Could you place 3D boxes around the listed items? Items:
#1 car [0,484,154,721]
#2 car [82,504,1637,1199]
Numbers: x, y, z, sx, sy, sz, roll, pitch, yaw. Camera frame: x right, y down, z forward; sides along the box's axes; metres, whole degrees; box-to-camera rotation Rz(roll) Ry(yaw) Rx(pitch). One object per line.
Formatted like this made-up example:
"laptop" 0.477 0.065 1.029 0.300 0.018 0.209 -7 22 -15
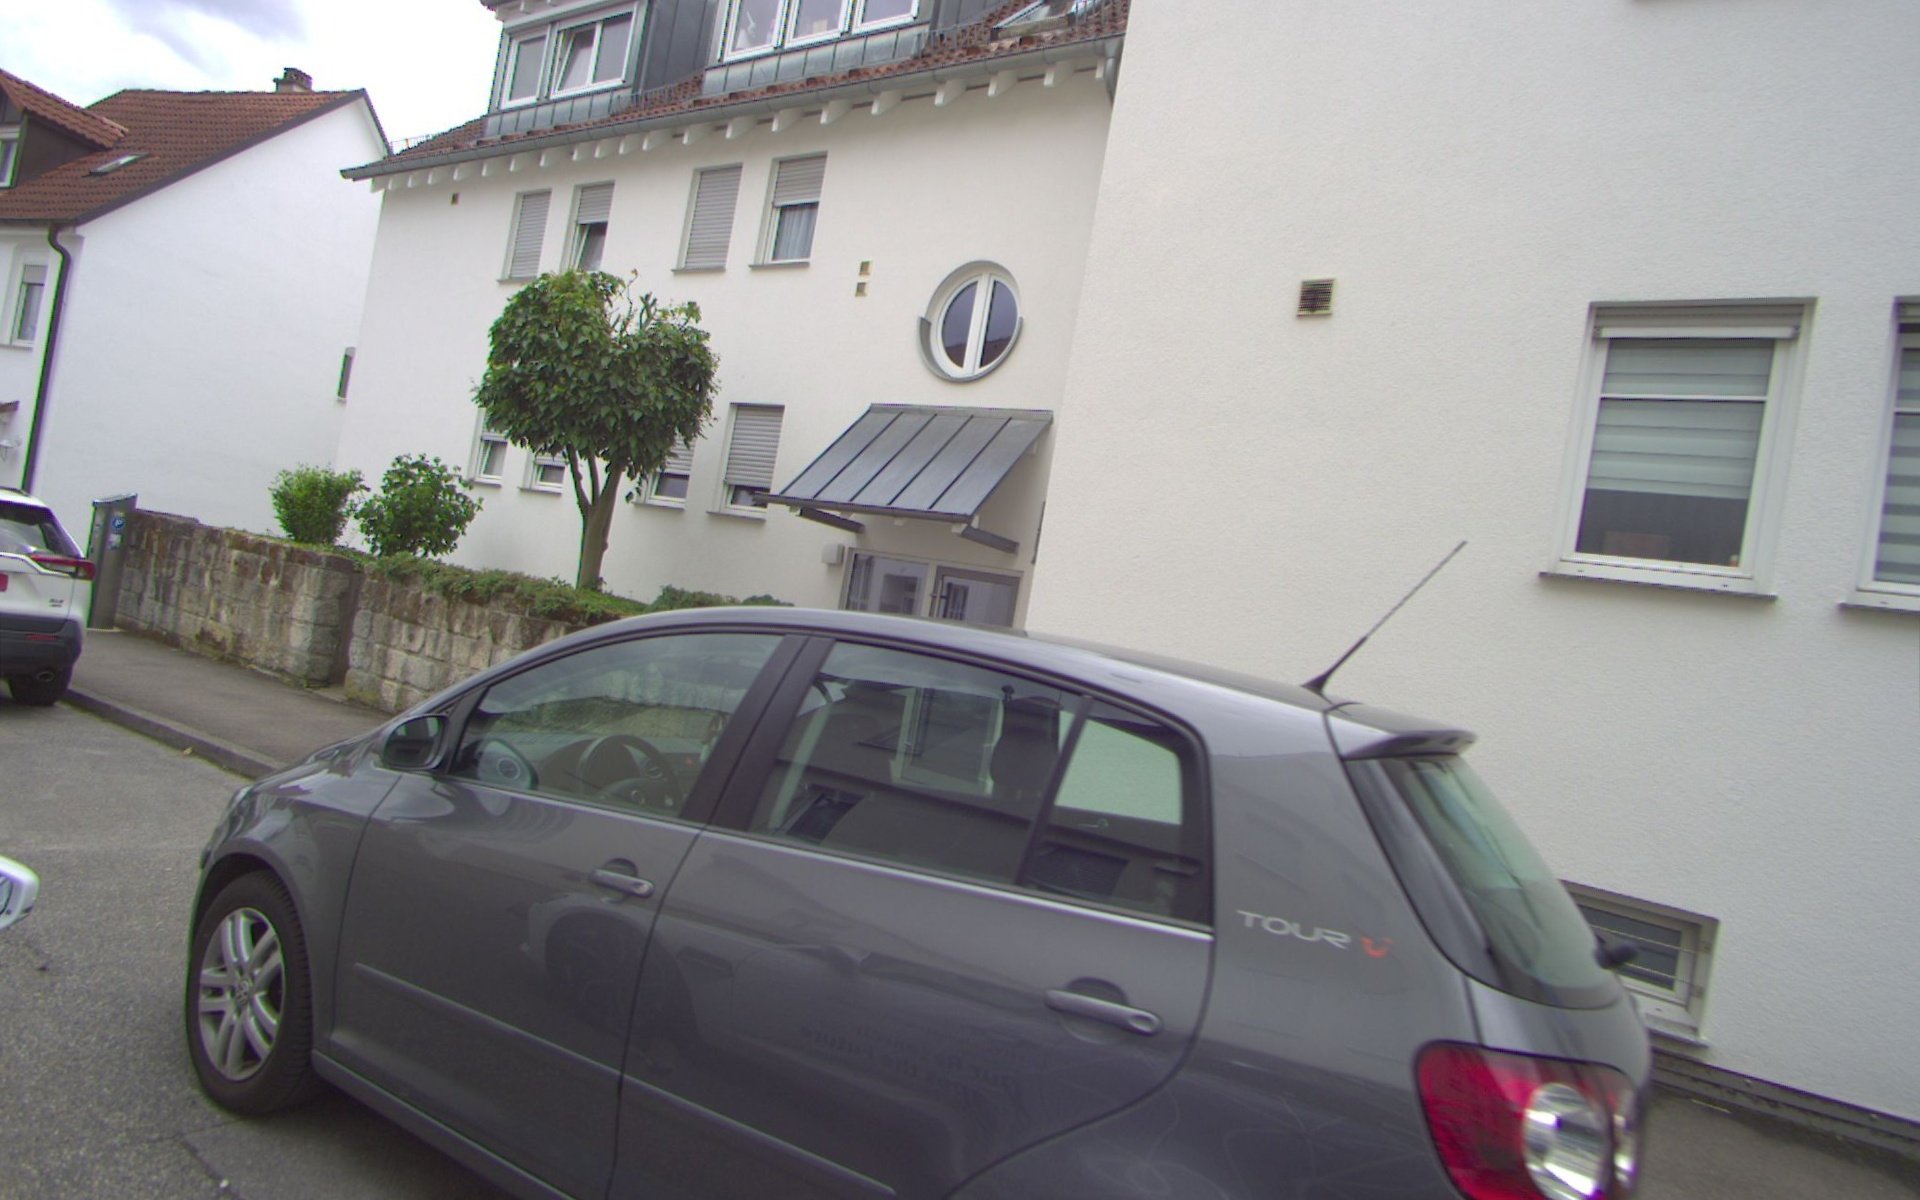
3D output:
"car" -8.810 -0.250 8.141 4.385 1.657 1.953 7 -4 30
"car" -0.518 0.800 2.926 3.842 1.580 1.741 7 -4 30
